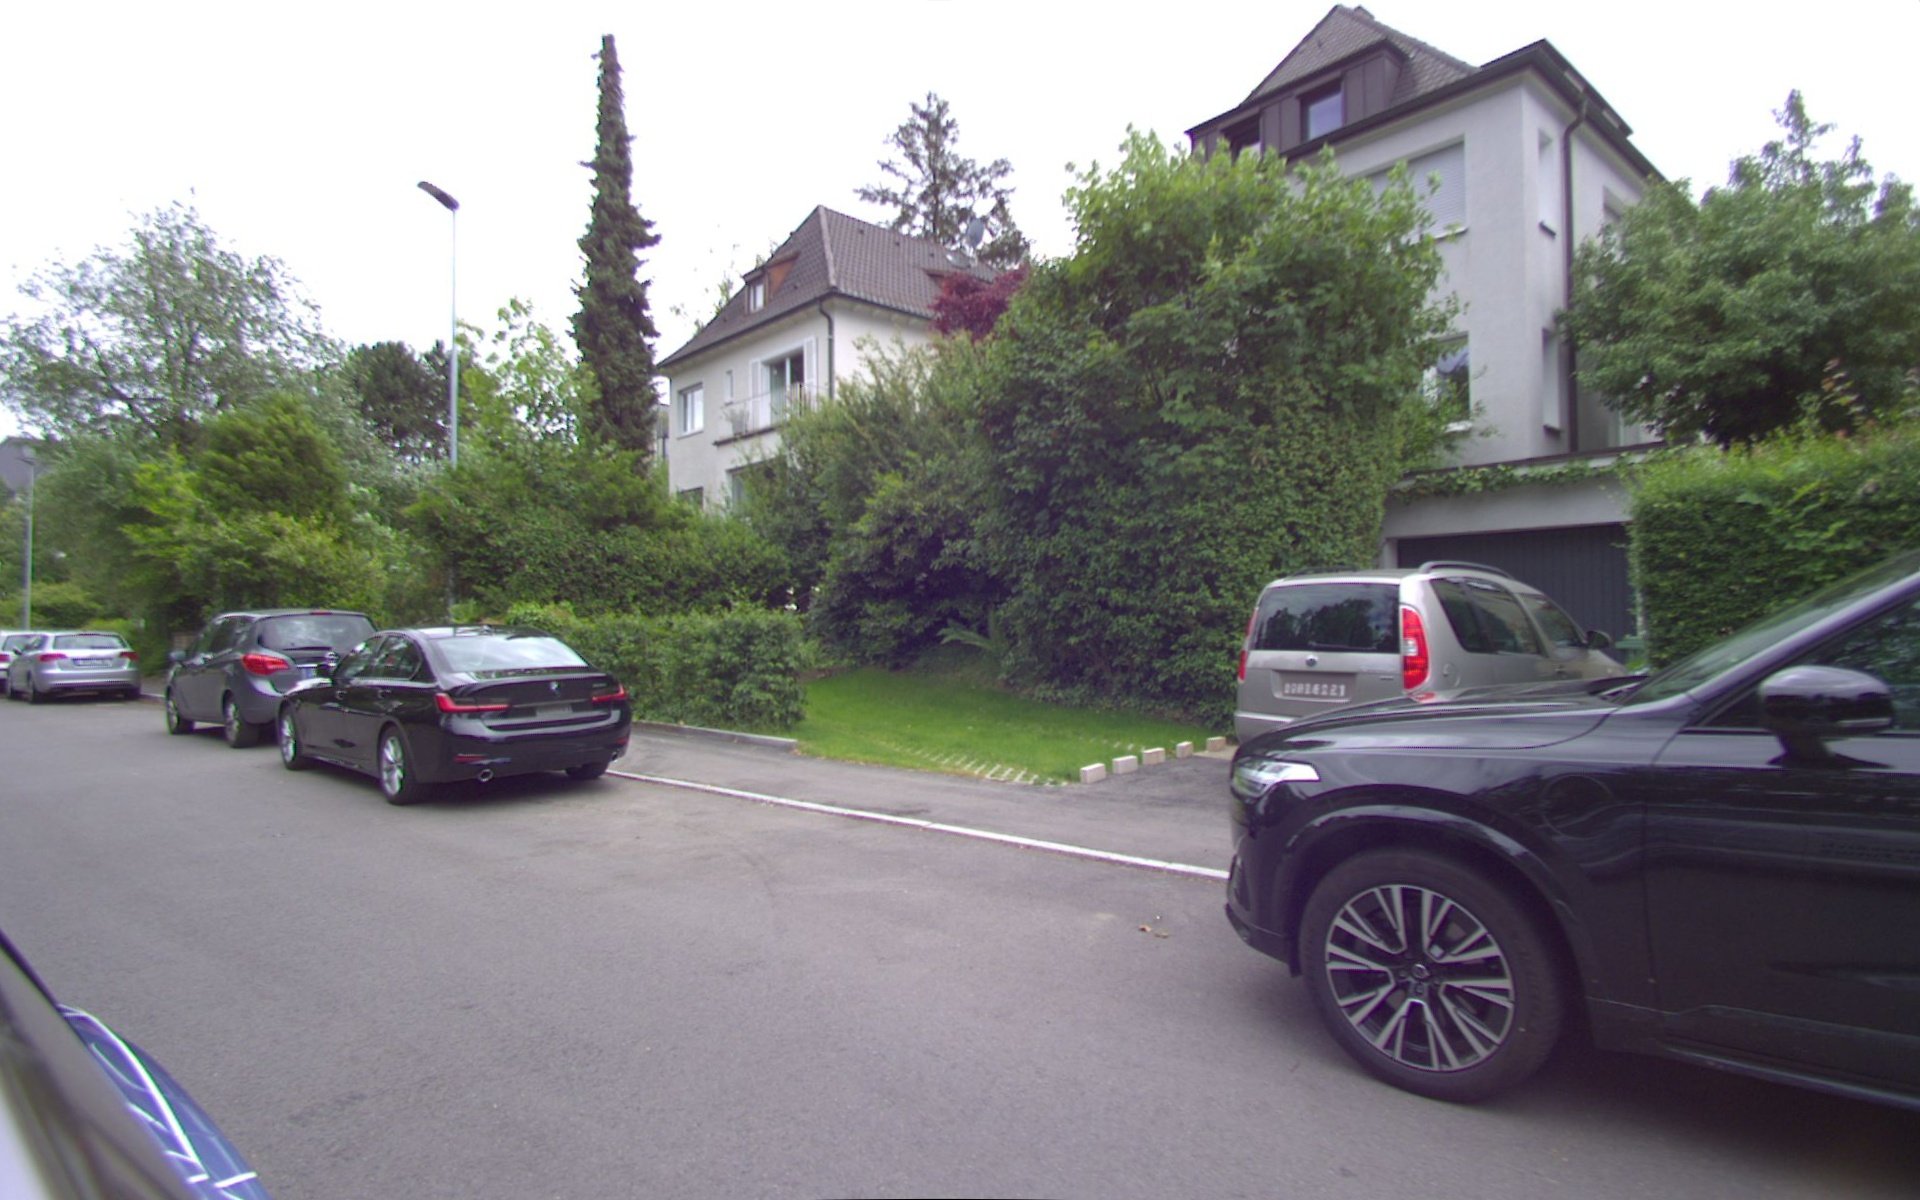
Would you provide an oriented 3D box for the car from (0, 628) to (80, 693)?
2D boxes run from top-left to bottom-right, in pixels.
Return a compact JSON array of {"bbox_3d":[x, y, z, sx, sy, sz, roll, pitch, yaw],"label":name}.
[{"bbox_3d":[-22.978,1.439,24.687,4.379,1.464,1.642,-2,-3,41],"label":"car"}]

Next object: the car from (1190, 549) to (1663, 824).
[{"bbox_3d":[3.731,0.513,7.911,3.644,1.650,1.832,-1,-1,-37],"label":"car"}]

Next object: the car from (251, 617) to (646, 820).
[{"bbox_3d":[-5.050,0.915,9.600,4.897,1.423,1.735,-2,-1,43],"label":"car"}]

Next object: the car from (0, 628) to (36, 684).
[{"bbox_3d":[-26.629,1.512,27.673,3.967,1.461,1.605,-2,-2,42],"label":"car"}]

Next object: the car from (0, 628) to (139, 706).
[{"bbox_3d":[-18.566,1.324,20.977,4.089,1.461,1.607,-1,-2,39],"label":"car"}]

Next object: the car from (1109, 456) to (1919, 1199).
[{"bbox_3d":[3.119,0.538,2.673,5.189,1.750,1.953,-2,-1,43],"label":"car"}]

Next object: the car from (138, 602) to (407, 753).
[{"bbox_3d":[-9.103,0.895,13.246,4.564,1.644,1.714,-2,-1,40],"label":"car"}]
